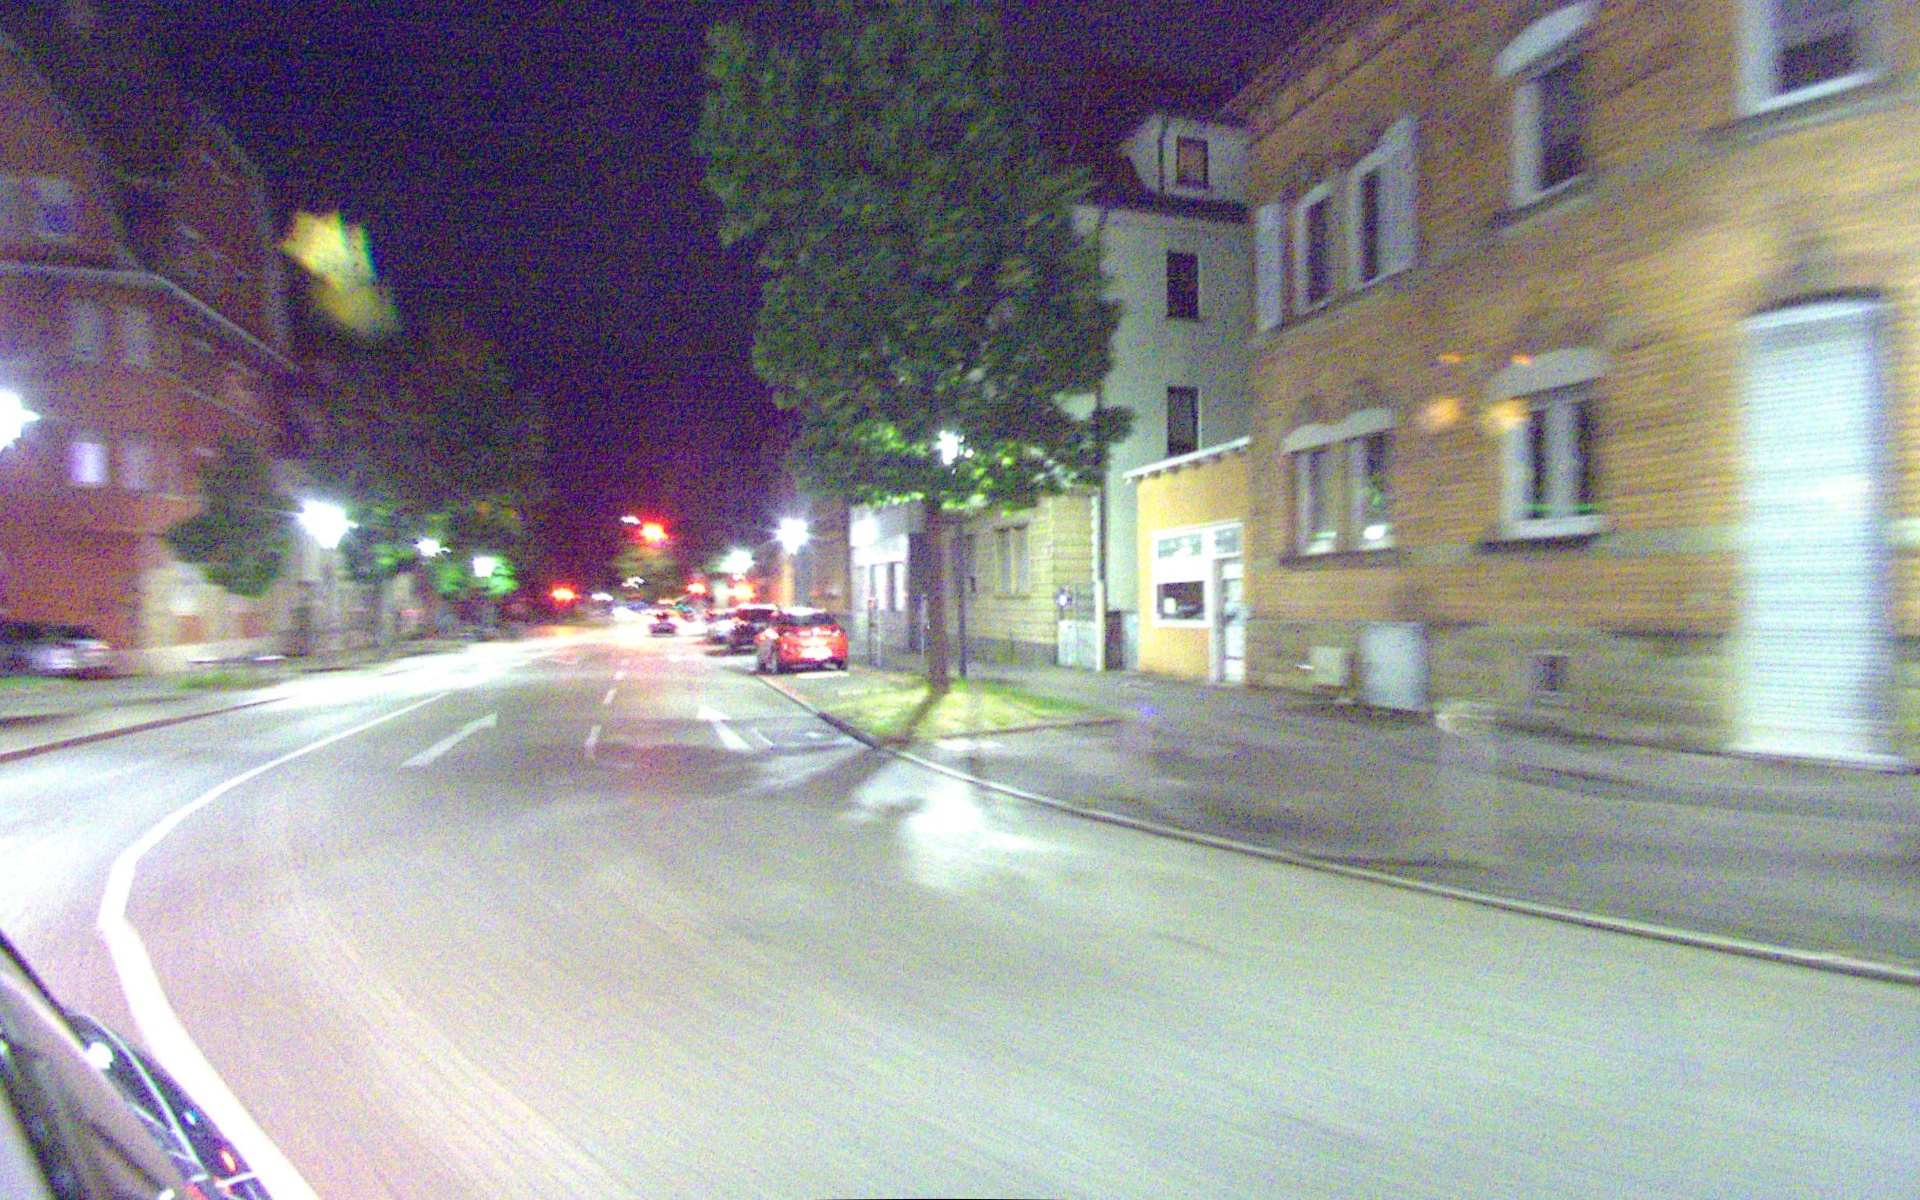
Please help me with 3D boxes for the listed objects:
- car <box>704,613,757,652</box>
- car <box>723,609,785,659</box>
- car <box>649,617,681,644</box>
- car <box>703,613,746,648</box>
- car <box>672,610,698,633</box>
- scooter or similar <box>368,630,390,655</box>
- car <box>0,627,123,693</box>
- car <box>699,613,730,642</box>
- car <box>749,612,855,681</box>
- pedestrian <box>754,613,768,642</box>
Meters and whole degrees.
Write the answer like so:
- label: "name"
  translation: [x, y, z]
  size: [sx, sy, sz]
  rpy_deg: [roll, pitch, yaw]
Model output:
- label: "car"
  translation: [-10.001, 1.363, 43.918]
  size: [1.760, 1.502, 4.012]
  rpy_deg: [-3, 0, -19]
- label: "car"
  translation: [-7.427, 1.177, 36.237]
  size: [1.760, 1.593, 4.424]
  rpy_deg: [-3, 0, -16]
- label: "car"
  translation: [-16.666, 1.685, 57.104]
  size: [1.691, 1.440, 4.012]
  rpy_deg: [1, -1, -17]
- label: "car"
  translation: [-11.545, 1.462, 49.459]
  size: [1.760, 1.502, 4.341]
  rpy_deg: [-3, 0, -15]
- label: "car"
  translation: [-21.232, 1.621, 78.098]
  size: [1.860, 1.608, 4.035]
  rpy_deg: [-2, 0, -16]
- label: "scooter or similar"
  translation: [-27.189, 1.980, 47.381]
  size: [0.416, 1.139, 1.496]
  rpy_deg: [0, -1, -10]
- label: "car"
  translation: [-22.457, 1.386, 23.470]
  size: [4.368, 1.471, 1.793]
  rpy_deg: [0, -2, -11]
- label: "car"
  translation: [-14.073, 1.562, 58.116]
  size: [1.571, 1.502, 3.708]
  rpy_deg: [-3, 0, -13]
- label: "car"
  translation: [-3.867, 1.055, 24.219]
  size: [1.760, 1.426, 4.139]
  rpy_deg: [-2, 0, -19]
- label: "pedestrian"
  translation: [-11.803, 1.637, 60.101]
  size: [0.700, 1.703, 1.126]
  rpy_deg: [0, -1, -7]
